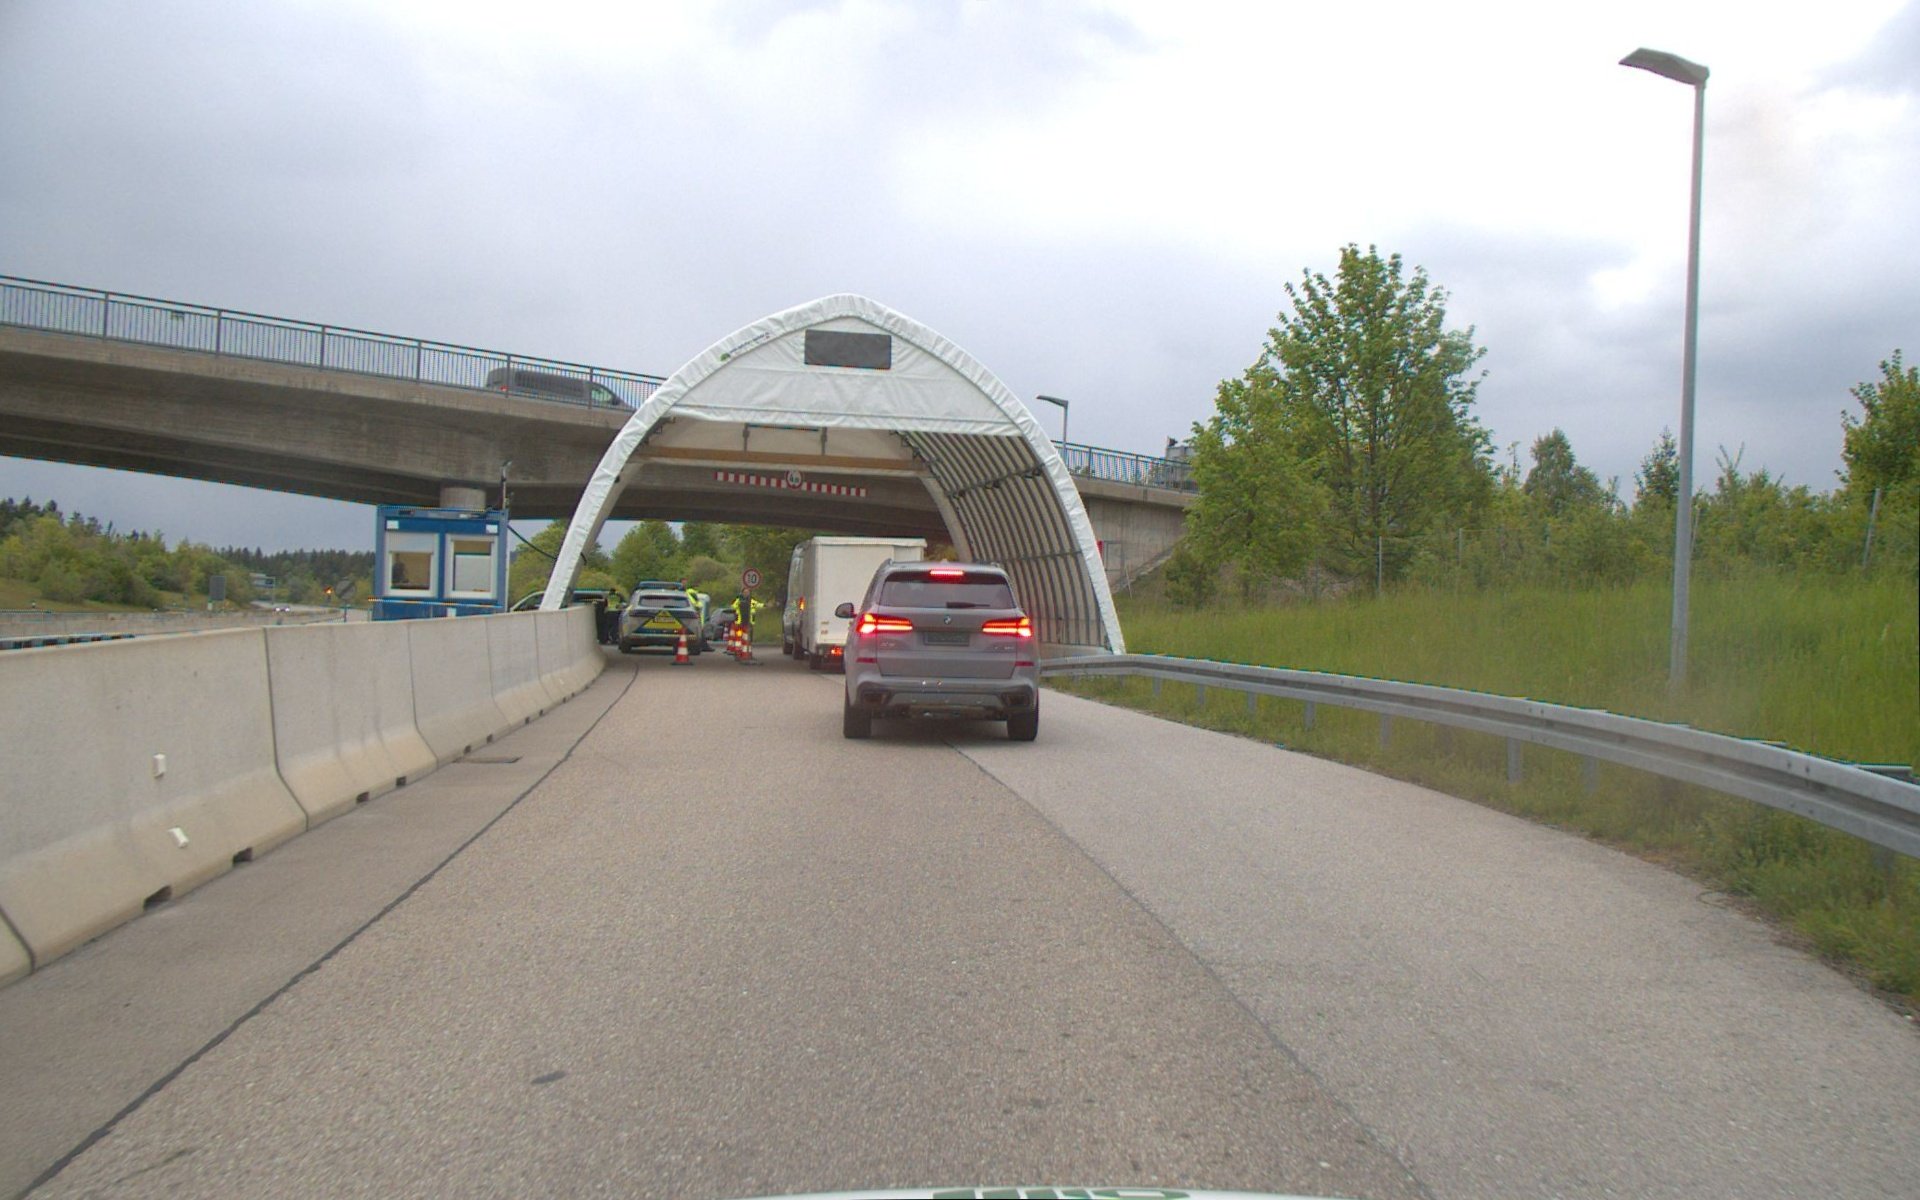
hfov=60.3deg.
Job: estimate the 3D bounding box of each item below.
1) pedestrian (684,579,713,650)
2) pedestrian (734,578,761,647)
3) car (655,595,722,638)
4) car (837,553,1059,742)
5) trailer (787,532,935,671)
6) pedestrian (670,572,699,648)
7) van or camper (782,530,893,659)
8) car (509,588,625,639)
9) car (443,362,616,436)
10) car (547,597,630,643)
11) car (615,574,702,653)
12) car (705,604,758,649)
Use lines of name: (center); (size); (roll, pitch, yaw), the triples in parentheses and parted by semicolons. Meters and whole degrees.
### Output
pedestrian: (-6.727, 0.365, 42.583); (0.707, 1.807, 0.688); (0, -1, -12)
pedestrian: (-5.621, 0.335, 43.730); (0.637, 1.807, 0.604); (1, -1, -14)
car: (-13.378, 0.802, 81.305); (1.973, 2.049, 3.958); (1, -1, -31)
car: (-0.255, 0.471, 17.475); (1.955, 1.750, 3.995); (1, -1, -6)
trailer: (-2.118, 0.090, 33.112); (2.237, 2.473, 6.801); (1, -1, -9)
pedestrian: (-7.260, 0.254, 43.531); (0.707, 1.979, 0.688); (0, -1, -12)
van or camper: (-3.002, -0.058, 39.332); (2.117, 2.812, 5.858); (1, -1, -9)
car: (-14.809, 0.504, 62.401); (3.903, 1.886, 1.710); (0, 0, 3)
car: (-13.375, -6.216, 51.531); (4.890, 1.677, 1.972); (1, -1, -39)
car: (-12.320, 0.650, 54.744); (1.503, 1.467, 3.271); (1, -1, -37)
car: (-7.353, 0.329, 40.080); (1.958, 1.803, 3.754); (0, 0, -12)
car: (-9.987, 1.121, 72.036); (1.677, 1.886, 3.981); (0, 0, -17)
